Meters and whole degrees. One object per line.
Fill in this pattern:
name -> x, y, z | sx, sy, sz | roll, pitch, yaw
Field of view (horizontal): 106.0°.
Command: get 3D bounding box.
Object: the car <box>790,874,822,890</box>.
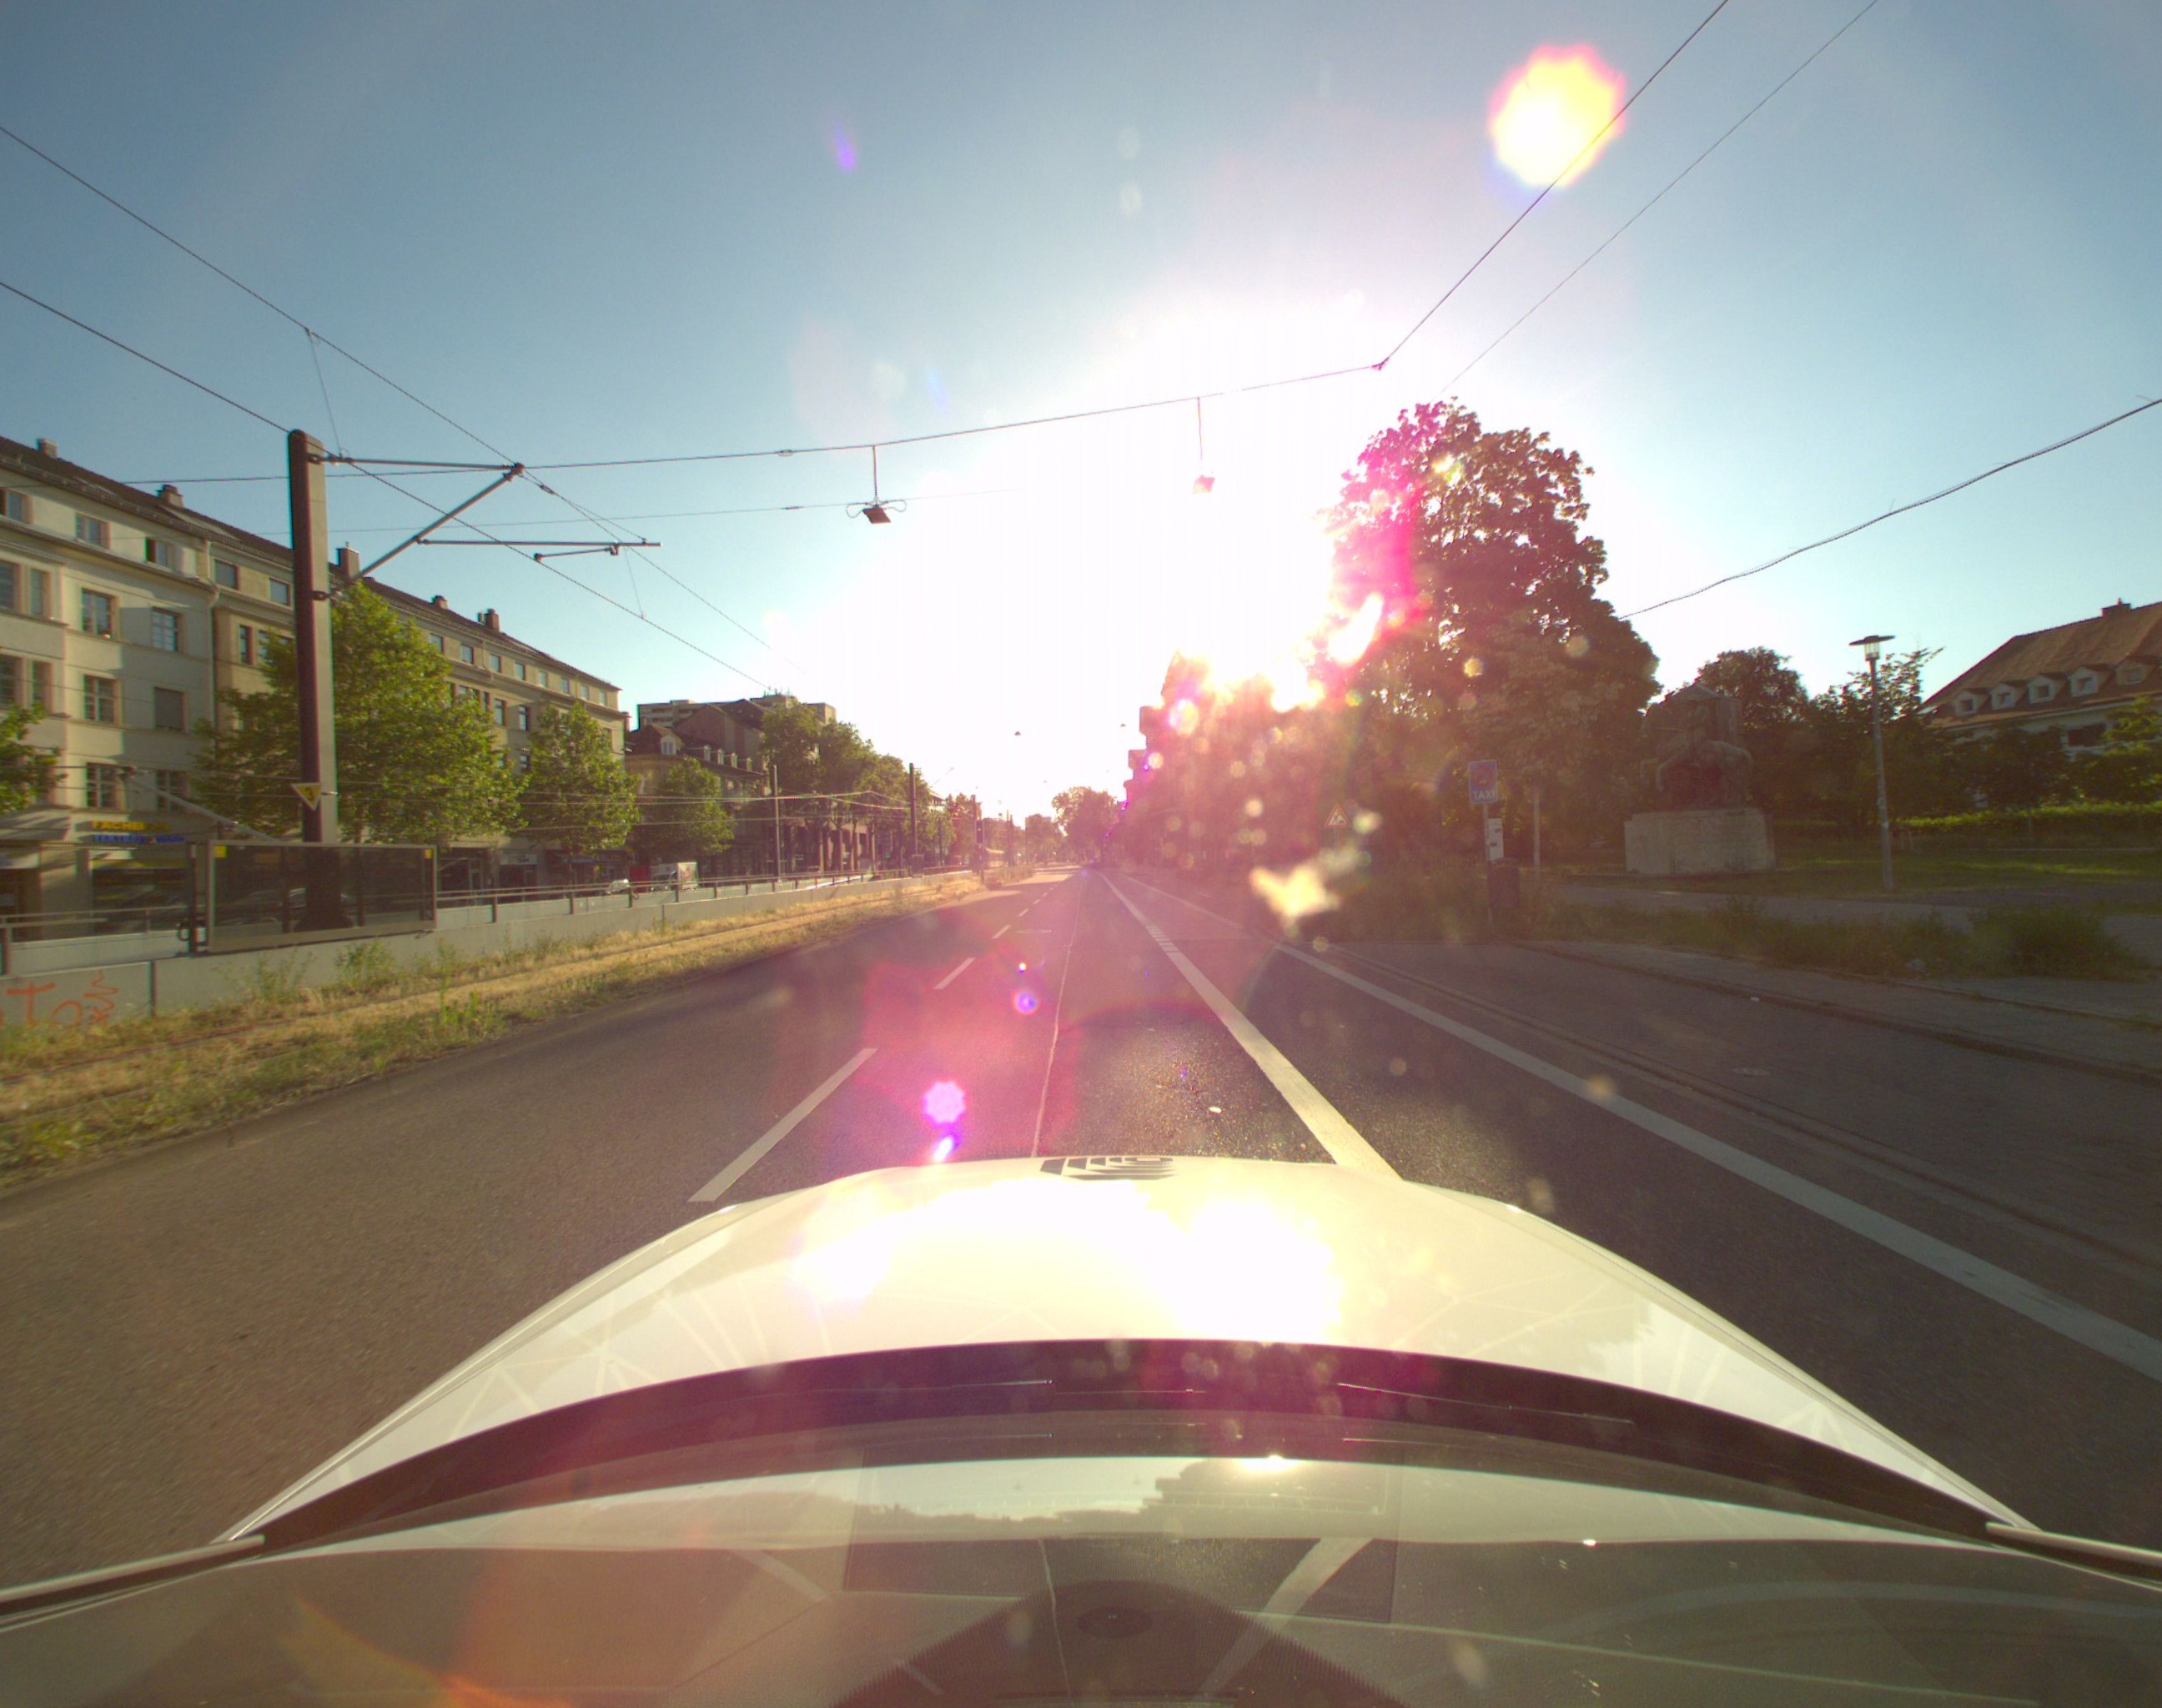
car -> -30.879, 3.090, 91.533 | 1.754, 1.585, 4.736 | -3, -1, 1

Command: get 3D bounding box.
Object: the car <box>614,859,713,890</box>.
car -> -36.356, 1.774, 71.100 | 7.255, 2.266, 2.466 | -3, -1, -5

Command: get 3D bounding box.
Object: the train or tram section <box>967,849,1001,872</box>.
train or tram section -> -16.706, 1.149, 142.328 | 3.100, 3.559, 17.485 | -3, 0, 2

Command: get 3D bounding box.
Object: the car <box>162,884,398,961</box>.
car -> -23.857, 1.965, 24.622 | 1.985, 1.819, 4.983 | -3, 0, 3

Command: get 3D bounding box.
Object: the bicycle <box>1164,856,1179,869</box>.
bicycle -> 9.524, 0.878, 85.429 | 0.859, 1.196, 2.252 | -3, -1, 24

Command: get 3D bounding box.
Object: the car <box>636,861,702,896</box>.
car -> -27.556, 1.611, 54.617 | 1.946, 2.134, 4.573 | -3, 0, 1

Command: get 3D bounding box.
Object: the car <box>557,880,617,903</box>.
car -> -31.451, 2.380, 51.948 | 1.448, 1.332, 3.712 | 0, -1, 2
